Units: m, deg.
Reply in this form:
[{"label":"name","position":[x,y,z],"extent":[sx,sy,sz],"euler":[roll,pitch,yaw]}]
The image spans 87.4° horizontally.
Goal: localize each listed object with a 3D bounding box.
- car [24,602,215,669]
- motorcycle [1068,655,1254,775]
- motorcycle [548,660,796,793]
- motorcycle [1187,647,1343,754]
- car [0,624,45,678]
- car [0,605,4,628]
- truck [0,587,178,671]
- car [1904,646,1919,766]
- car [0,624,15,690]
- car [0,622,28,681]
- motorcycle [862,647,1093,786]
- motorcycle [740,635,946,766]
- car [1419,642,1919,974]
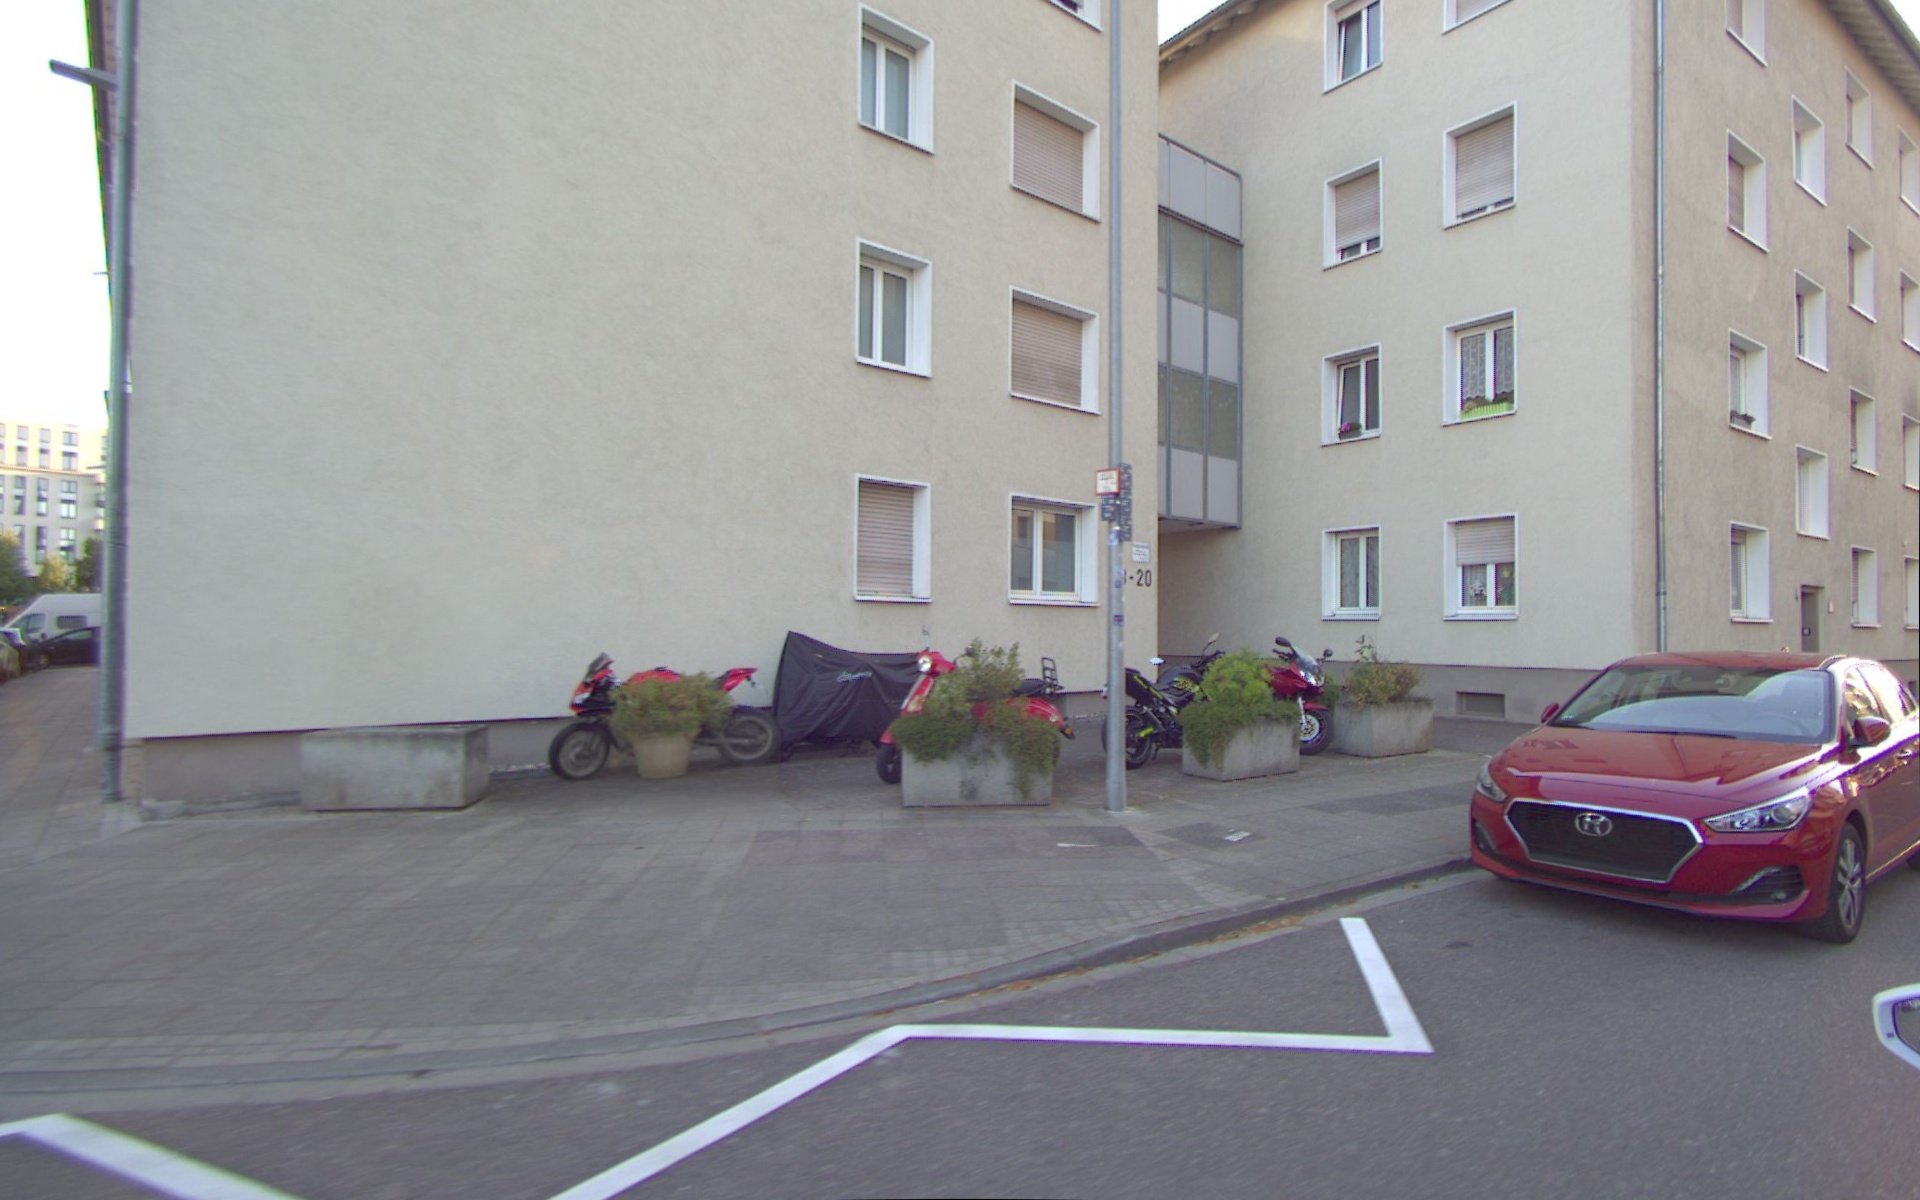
[{"label":"car","position":[-29.659,1.206,35.631],"extent":[4.960,1.939,2.312],"euler":[-4,1,-40]},{"label":"motorcycle","position":[2.108,1.139,10.386],"extent":[2.013,1.093,0.678],"euler":[2,-2,-35]},{"label":"motorcycle","position":[-2.544,1.094,9.026],"extent":[2.046,1.093,0.723],"euler":[1,-1,-15]},{"label":"motorcycle","position":[3.589,1.147,12.029],"extent":[0.552,1.120,2.119],"euler":[1,-2,-23]},{"label":"car","position":[-29.370,1.561,30.656],"extent":[1.865,1.504,3.903],"euler":[-4,1,-40]},{"label":"car","position":[-124.383,2.061,126.198],"extent":[2.303,2.883,5.975],"euler":[-1,-2,38]},{"label":"truck","position":[-33.501,1.070,38.018],"extent":[5.951,2.759,2.311],"euler":[-4,2,-41]},{"label":"car","position":[13.829,1.340,13.104],"extent":[3.472,1.492,1.604],"euler":[2,-4,-37]},{"label":"car","position":[-23.648,1.369,23.545],"extent":[1.865,1.504,3.903],"euler":[-4,1,-40]},{"label":"car","position":[-26.473,1.411,26.933],"extent":[1.865,1.504,3.903],"euler":[-4,1,-40]},{"label":"motorcycle","position":[0.140,1.028,9.124],"extent":[1.998,1.176,0.689],"euler":[1,-1,-11]},{"label":"motorcycle","position":[-1.229,1.019,10.666],"extent":[2.053,1.281,0.721],"euler":[1,-1,-25]},{"label":"car","position":[4.921,1.030,6.554],"extent":[4.041,1.492,1.832],"euler":[2,-2,-37]}]
